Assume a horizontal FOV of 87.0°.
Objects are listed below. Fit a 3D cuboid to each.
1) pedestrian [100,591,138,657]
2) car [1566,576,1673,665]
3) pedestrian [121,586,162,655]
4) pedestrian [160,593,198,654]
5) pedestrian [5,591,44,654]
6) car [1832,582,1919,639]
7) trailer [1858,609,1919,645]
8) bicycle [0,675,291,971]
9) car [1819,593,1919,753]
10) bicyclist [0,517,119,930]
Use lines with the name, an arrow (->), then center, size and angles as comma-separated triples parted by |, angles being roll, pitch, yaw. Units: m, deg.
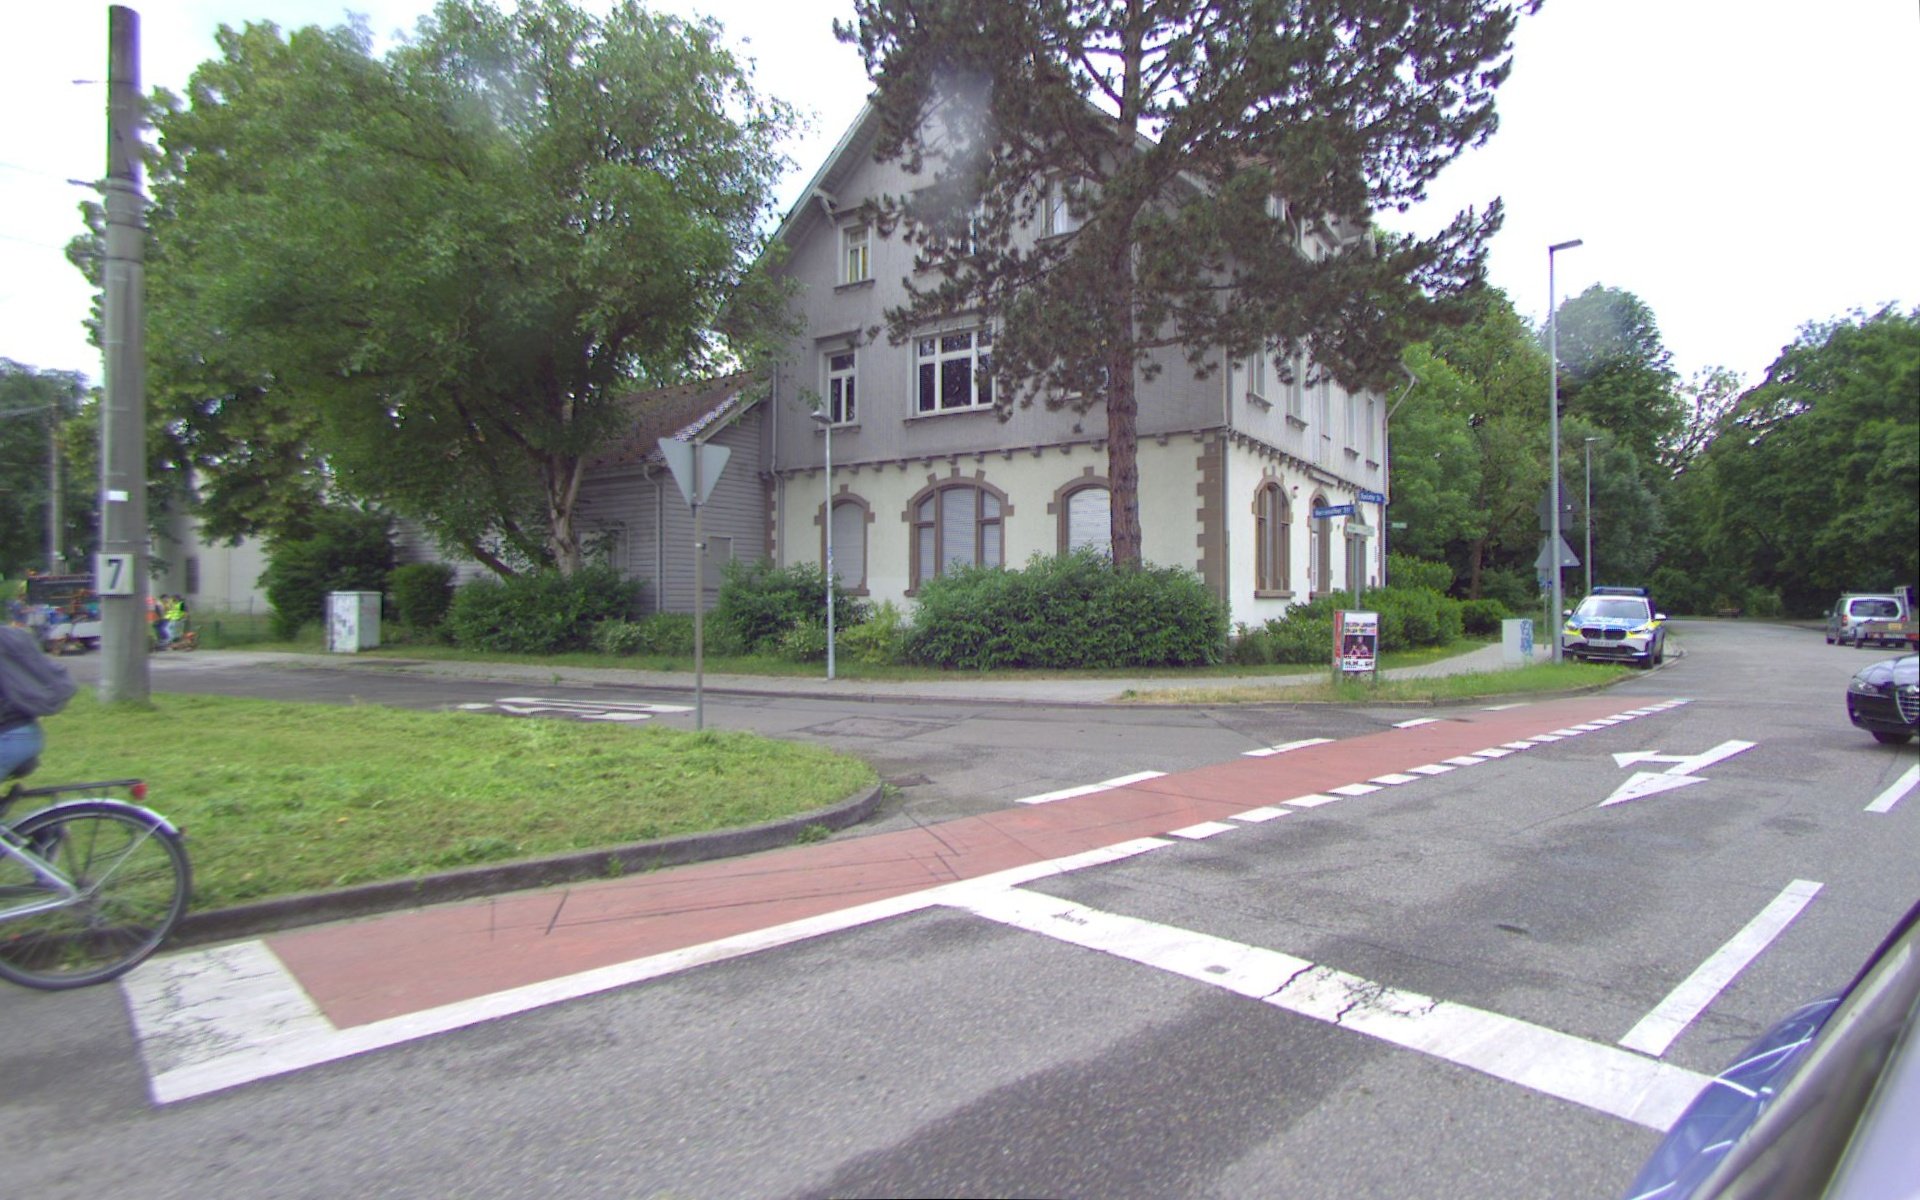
pedestrian -> -23.159, 0.650, 27.871 | 0.570, 1.784, 0.630 | -1, 0, 28
car -> 15.620, 0.414, 23.894 | 1.925, 1.873, 3.949 | 2, 2, 36
pedestrian -> -22.814, 0.556, 28.221 | 0.858, 1.878, 0.679 | 1, -1, -40
pedestrian -> -24.405, 0.731, 31.636 | 0.700, 1.863, 0.608 | 0, 0, 3
pedestrian -> -28.329, 0.671, 30.645 | 0.600, 1.892, 0.761 | -1, 0, 33
car -> 32.246, 0.325, 35.439 | 2.080, 1.881, 4.170 | -1, 0, 34
trailer -> 30.012, 0.831, 32.387 | 1.563, 0.998, 3.420 | 0, 1, 36
bicycle -> -3.692, 0.852, 3.741 | 1.995, 0.993, 0.383 | -1, 1, -42
car -> 11.001, 0.662, 9.811 | 4.445, 1.475, 1.807 | 0, 0, -14
bicyclist -> -3.686, 0.448, 3.672 | 0.945, 1.443, 0.621 | -1, -4, -42
